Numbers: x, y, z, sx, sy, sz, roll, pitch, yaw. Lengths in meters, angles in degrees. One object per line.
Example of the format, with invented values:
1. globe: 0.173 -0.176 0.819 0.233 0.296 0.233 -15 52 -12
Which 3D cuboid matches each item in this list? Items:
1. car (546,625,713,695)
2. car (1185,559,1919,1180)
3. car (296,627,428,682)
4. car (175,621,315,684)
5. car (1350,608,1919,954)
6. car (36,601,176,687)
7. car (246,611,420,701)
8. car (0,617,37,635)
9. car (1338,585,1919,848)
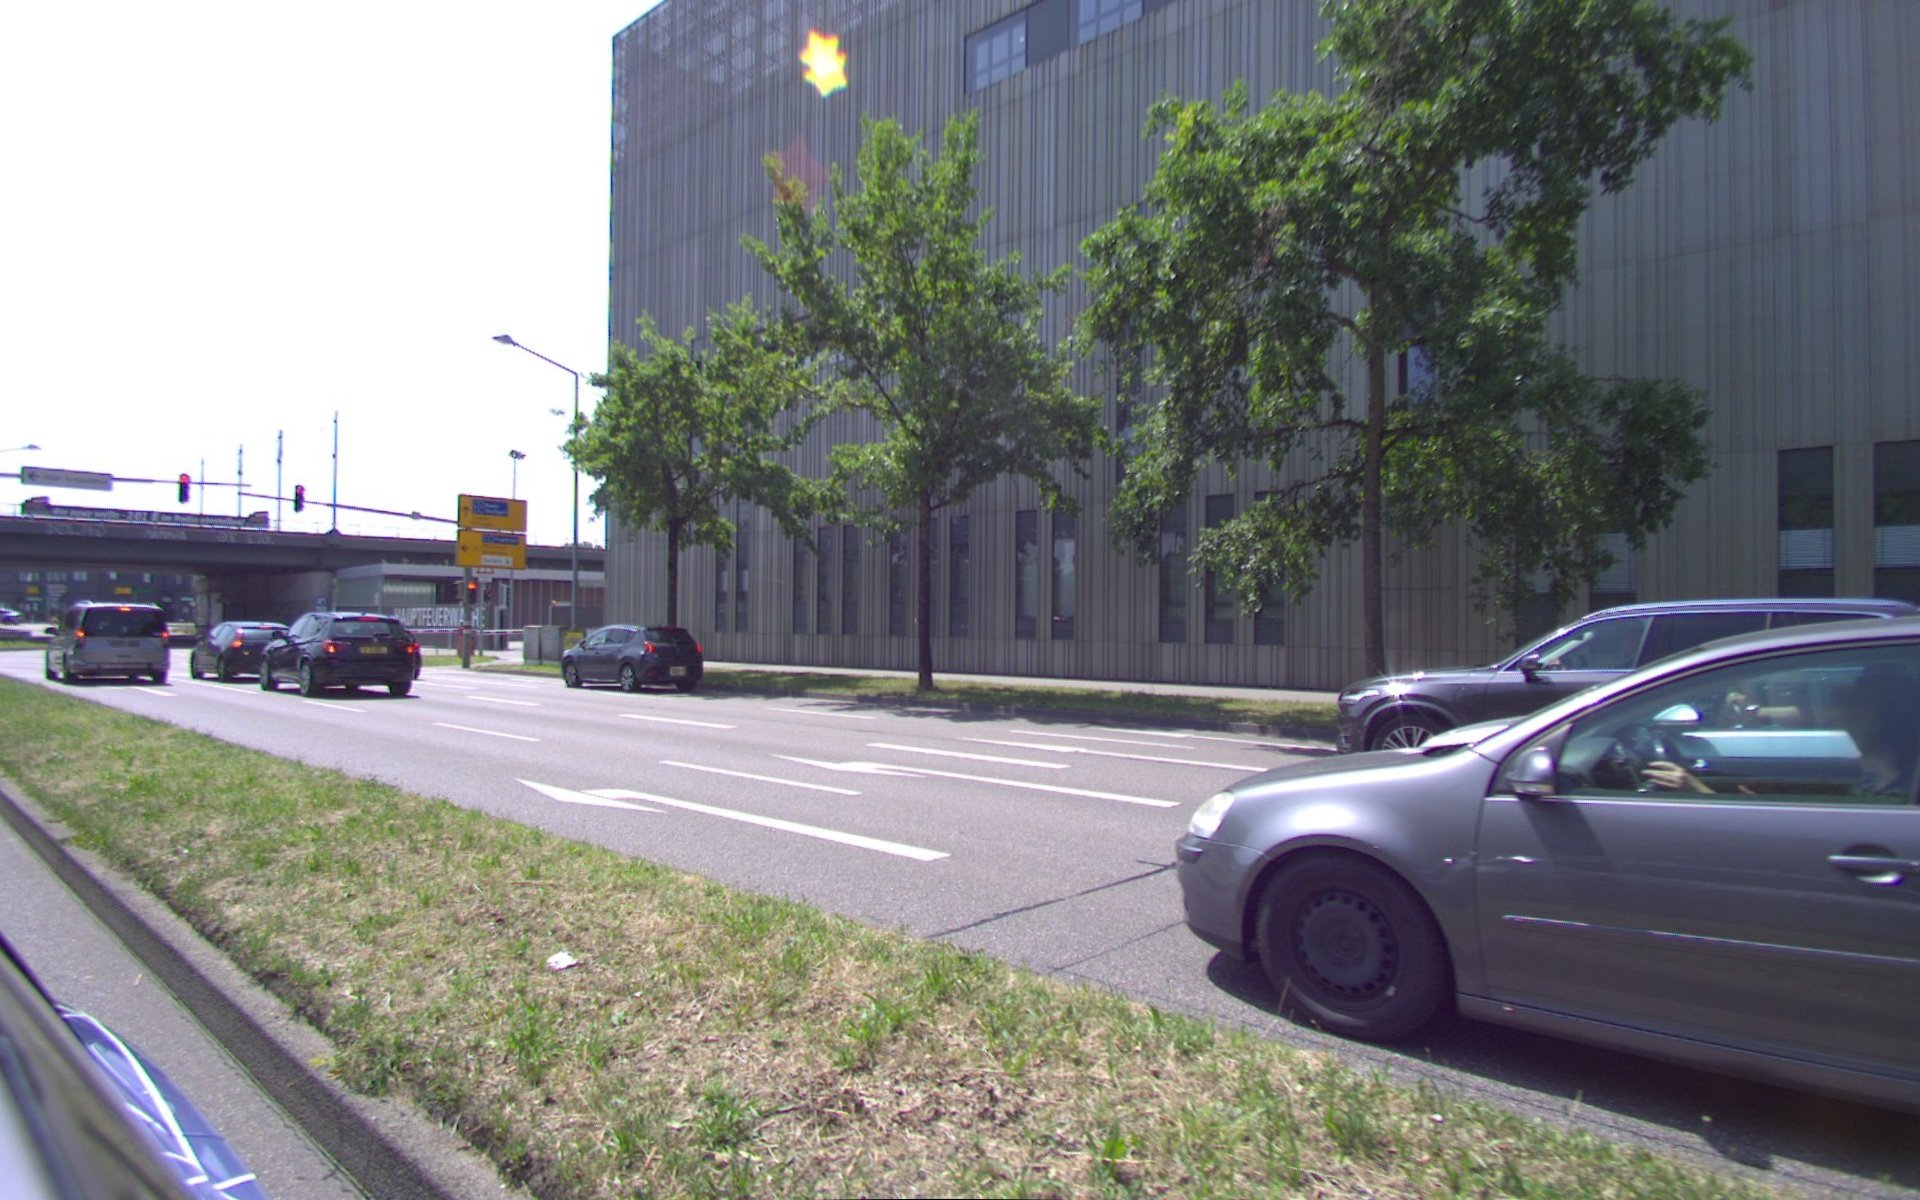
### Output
1. car: -8.109 1.433 24.656 4.365 1.555 1.792 -2 -4 39
2. car: 2.934 0.674 3.059 4.055 1.477 1.791 -1 -3 41
3. car: -16.767 1.481 28.308 4.246 1.428 1.792 -1 -3 39
4. car: -18.053 1.287 25.495 4.246 1.457 1.792 -1 -3 39
5. car: 4.400 0.809 5.212 4.141 1.471 1.748 -1 -3 40
6. car: -19.977 1.022 23.600 4.712 1.815 1.791 -2 -4 42
7. car: -13.060 1.102 20.964 4.571 1.676 1.783 -1 -3 41
8. car: -92.651 2.503 98.467 3.932 1.697 2.006 1 -2 -32
9. car: 5.814 0.837 8.492 4.641 1.760 1.792 -1 -3 39
